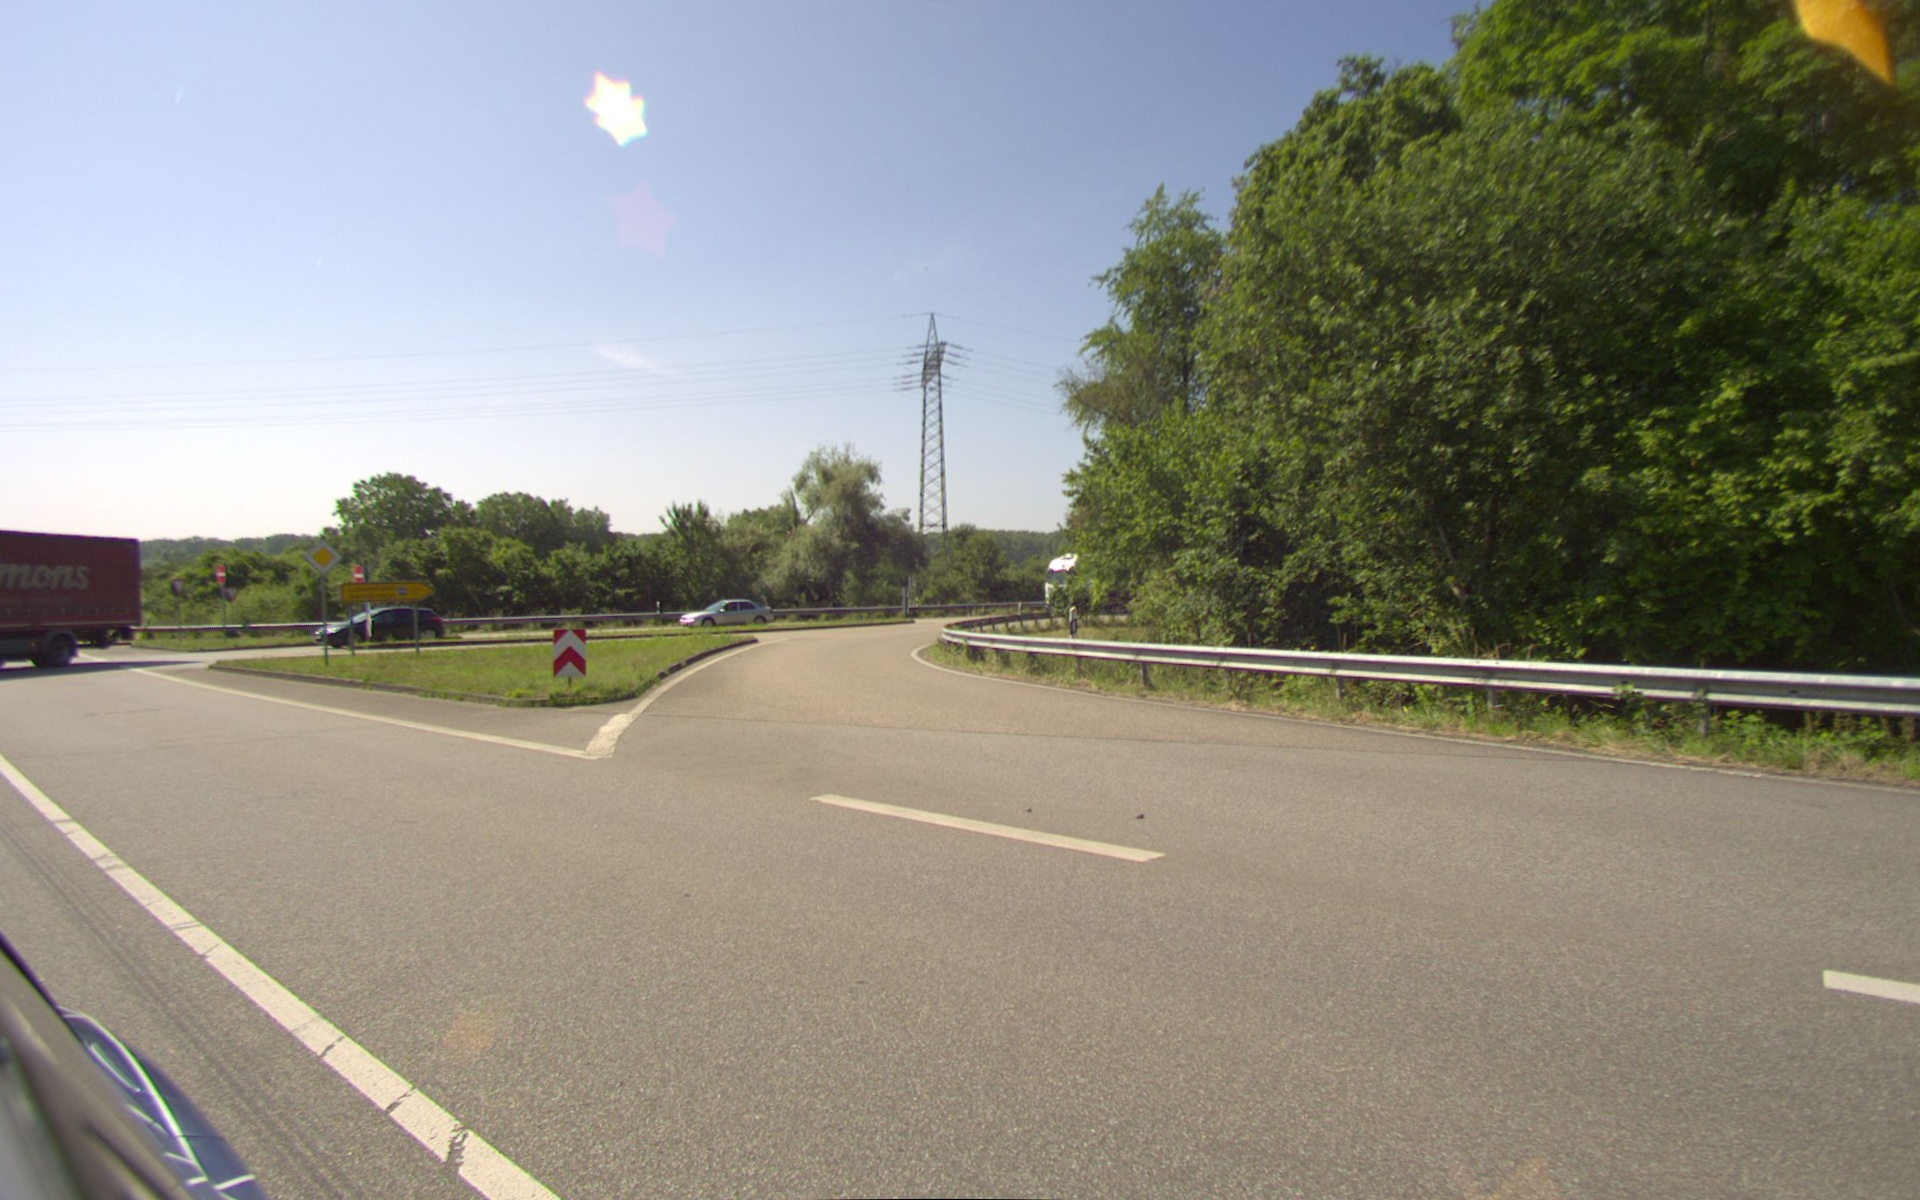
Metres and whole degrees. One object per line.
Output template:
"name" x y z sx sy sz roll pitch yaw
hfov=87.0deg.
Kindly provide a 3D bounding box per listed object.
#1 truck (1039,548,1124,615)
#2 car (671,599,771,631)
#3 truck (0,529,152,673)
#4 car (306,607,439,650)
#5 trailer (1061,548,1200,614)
"truck" 8.179 -1.290 67.567 2.940 4.269 5.654 2 2 41
"car" -11.388 0.681 48.365 4.307 1.395 1.792 -2 0 -37
"truck" -25.867 0.052 26.074 2.653 3.689 9.262 -1 0 0
"car" -21.964 1.047 37.963 1.787 1.425 3.948 -1 0 39
"trailer" 12.499 -1.413 72.479 2.930 4.271 13.789 2 2 41
